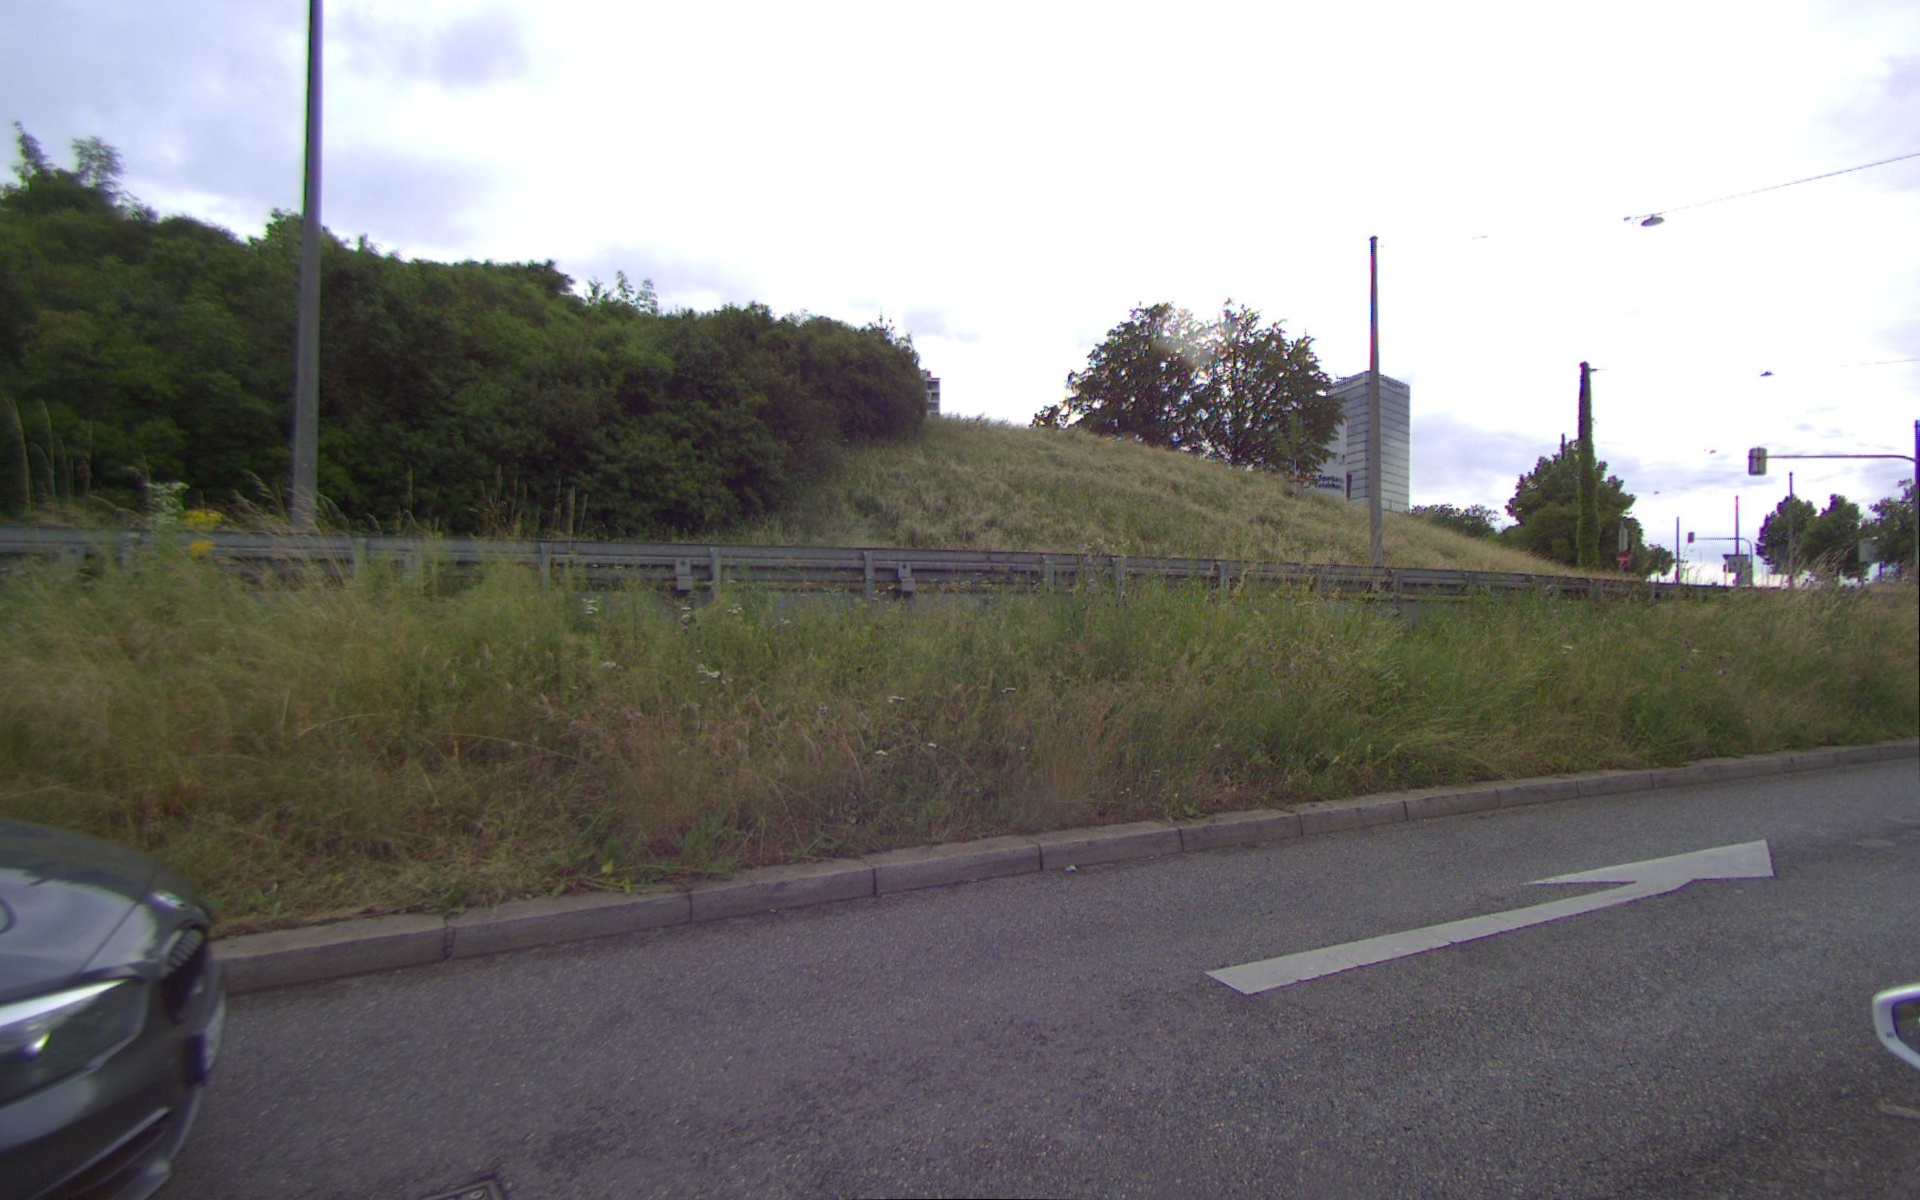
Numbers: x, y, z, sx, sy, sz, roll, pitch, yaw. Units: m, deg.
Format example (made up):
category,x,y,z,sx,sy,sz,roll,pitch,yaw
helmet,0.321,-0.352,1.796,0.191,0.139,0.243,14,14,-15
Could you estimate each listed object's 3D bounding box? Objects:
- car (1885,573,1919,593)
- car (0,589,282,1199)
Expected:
category,x,y,z,sx,sy,sz,roll,pitch,yaw
car,91.143,-1.607,96.808,1.964,1.681,4.537,2,0,30
car,-3.513,0.670,1.461,4.069,1.479,1.693,2,-1,-32
